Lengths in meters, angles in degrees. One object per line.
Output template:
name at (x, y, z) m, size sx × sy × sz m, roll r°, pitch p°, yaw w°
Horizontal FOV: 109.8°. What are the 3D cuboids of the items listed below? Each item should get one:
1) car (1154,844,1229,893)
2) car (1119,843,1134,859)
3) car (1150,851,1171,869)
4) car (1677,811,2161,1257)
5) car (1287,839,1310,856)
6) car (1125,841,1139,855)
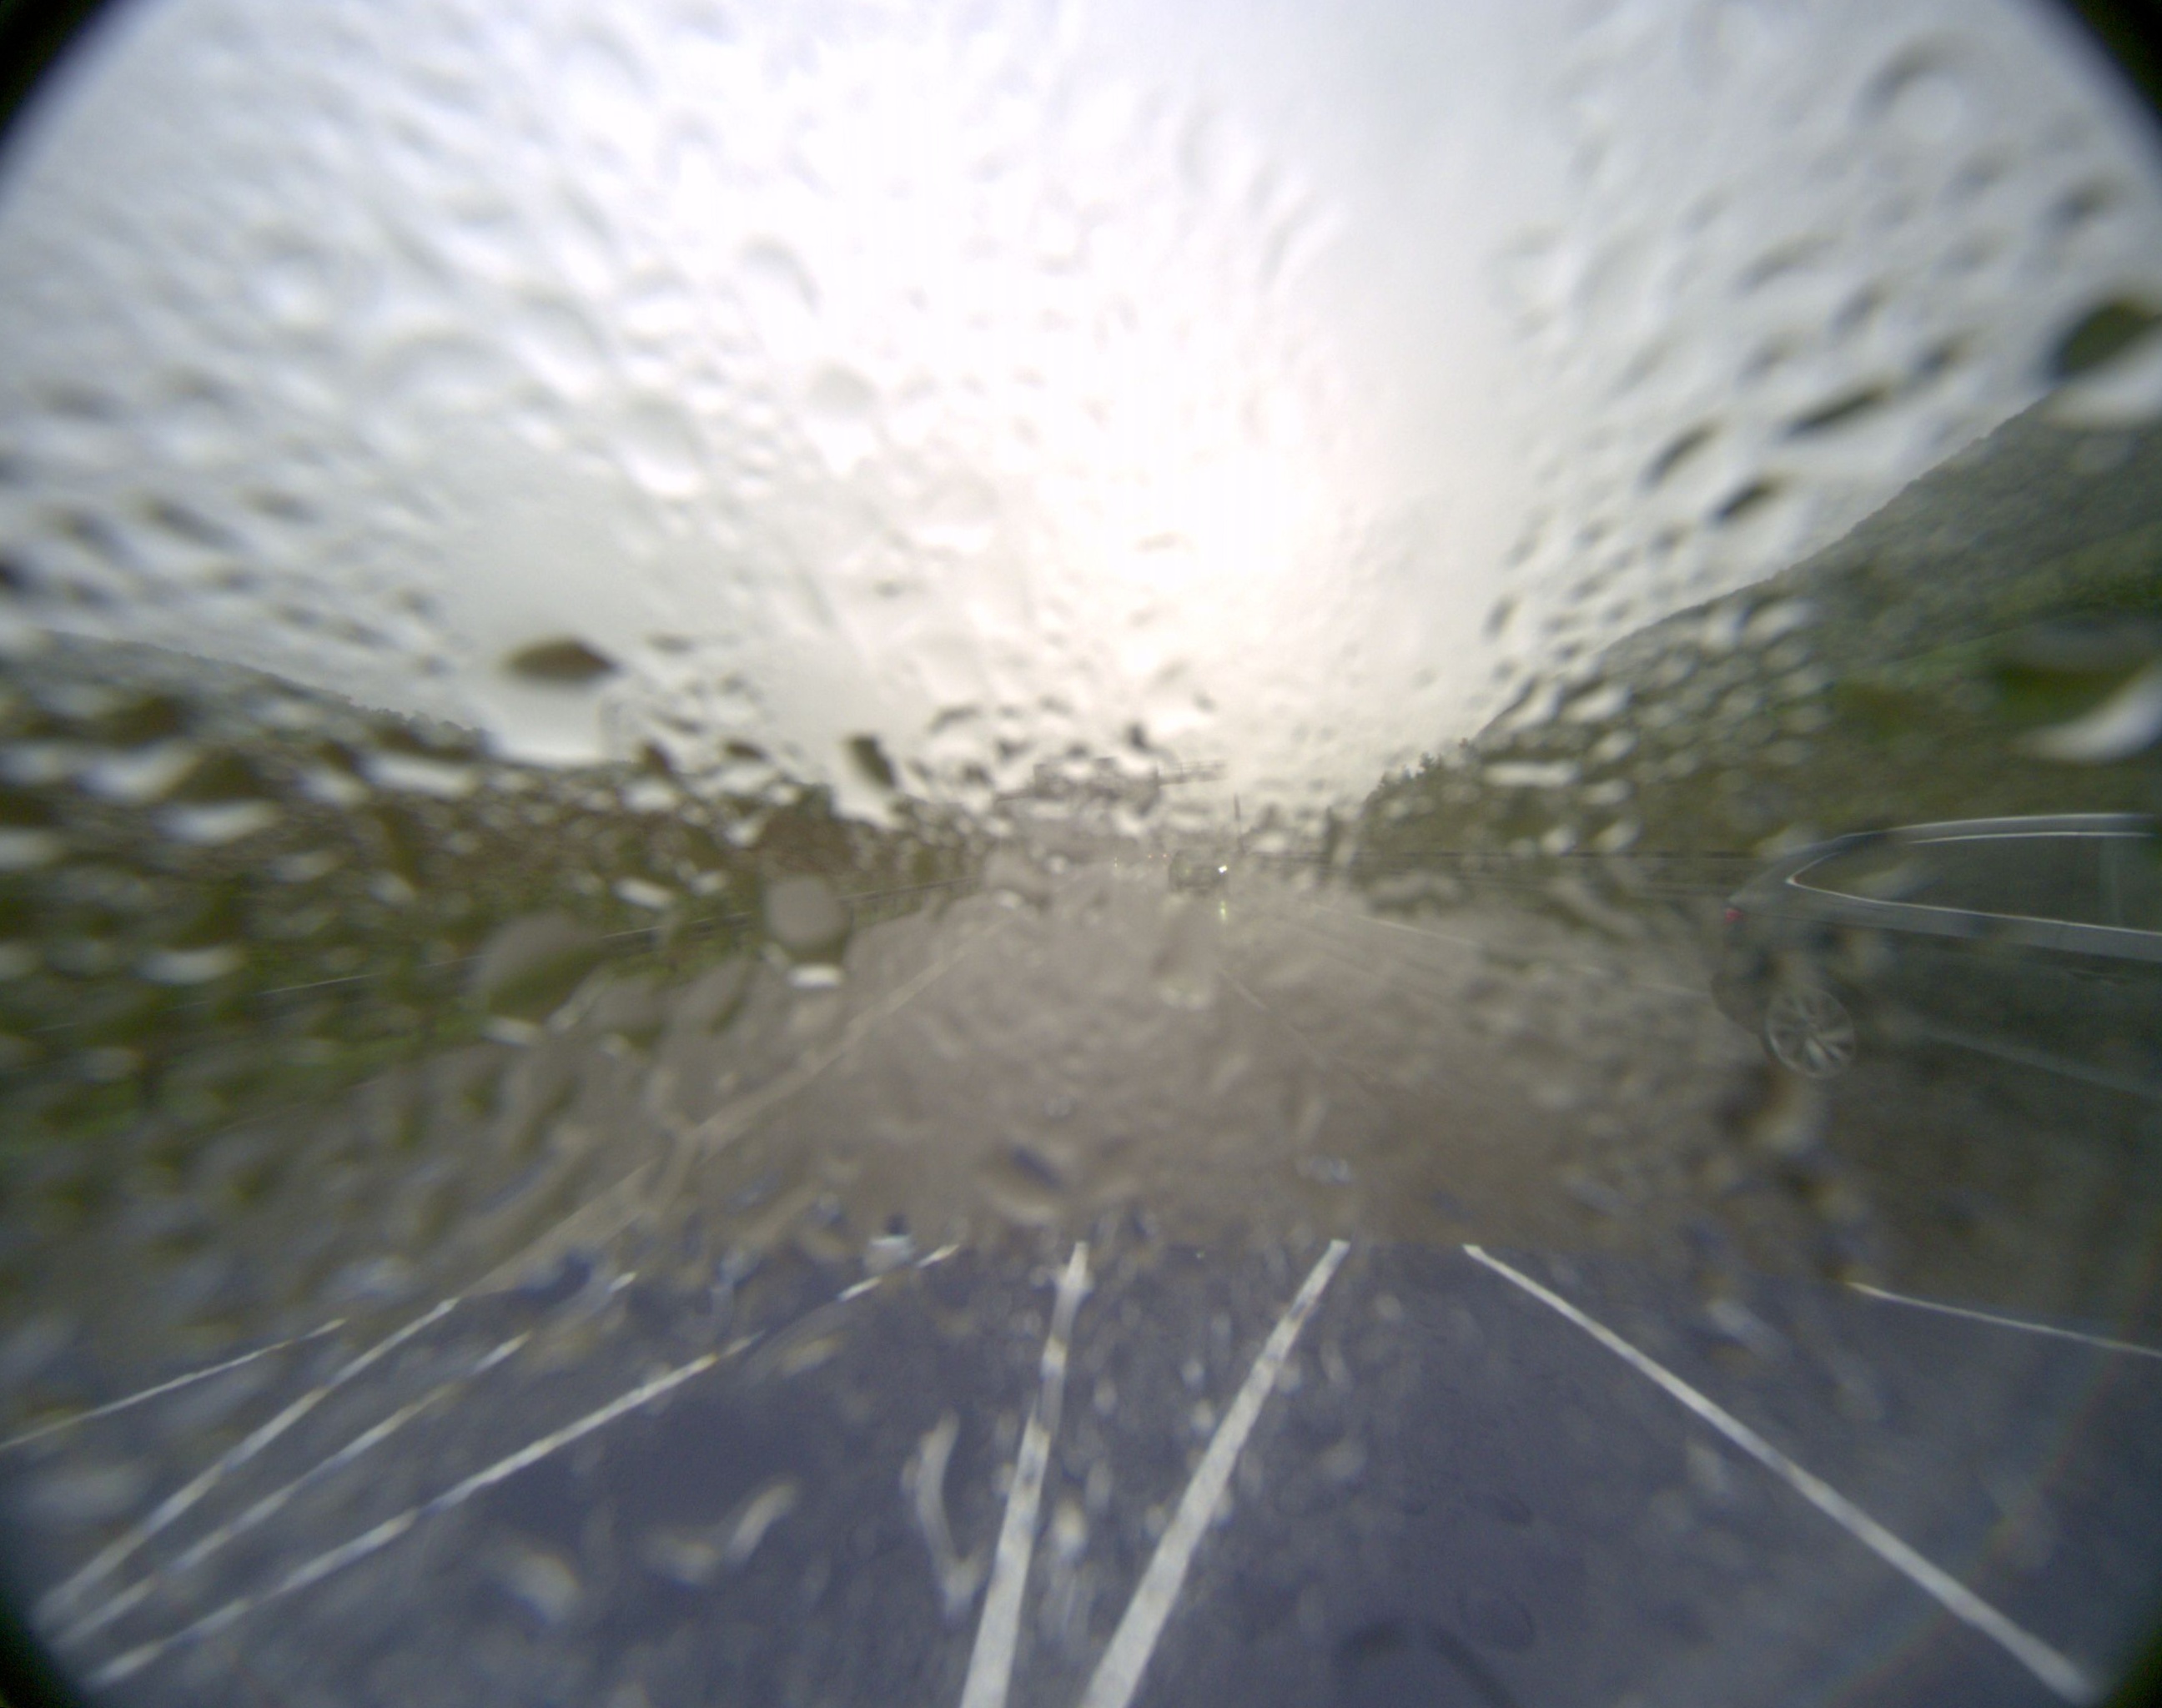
car at (4.294, 0.521, 30.087) m, size 1.816 × 1.692 × 3.745 m, roll -4°, pitch 1°, yaw -9°
car at (6.058, -0.431, 101.860) m, size 1.835 × 2.002 × 3.939 m, roll -4°, pitch 1°, yaw 4°
car at (9.226, 0.744, 88.616) m, size 1.987 × 2.002 × 3.933 m, roll -2°, pitch 0°, yaw 1°
car at (5.042, 0.663, 2.697) m, size 1.998 × 1.673 × 4.908 m, roll -1°, pitch 1°, yaw 0°
car at (24.178, -0.749, 84.557) m, size 1.683 × 1.783 × 3.683 m, roll -2°, pitch 0°, yaw 3°
car at (8.069, -0.966, 120.091) m, size 1.998 × 2.002 × 4.000 m, roll -2°, pitch 0°, yaw 1°
